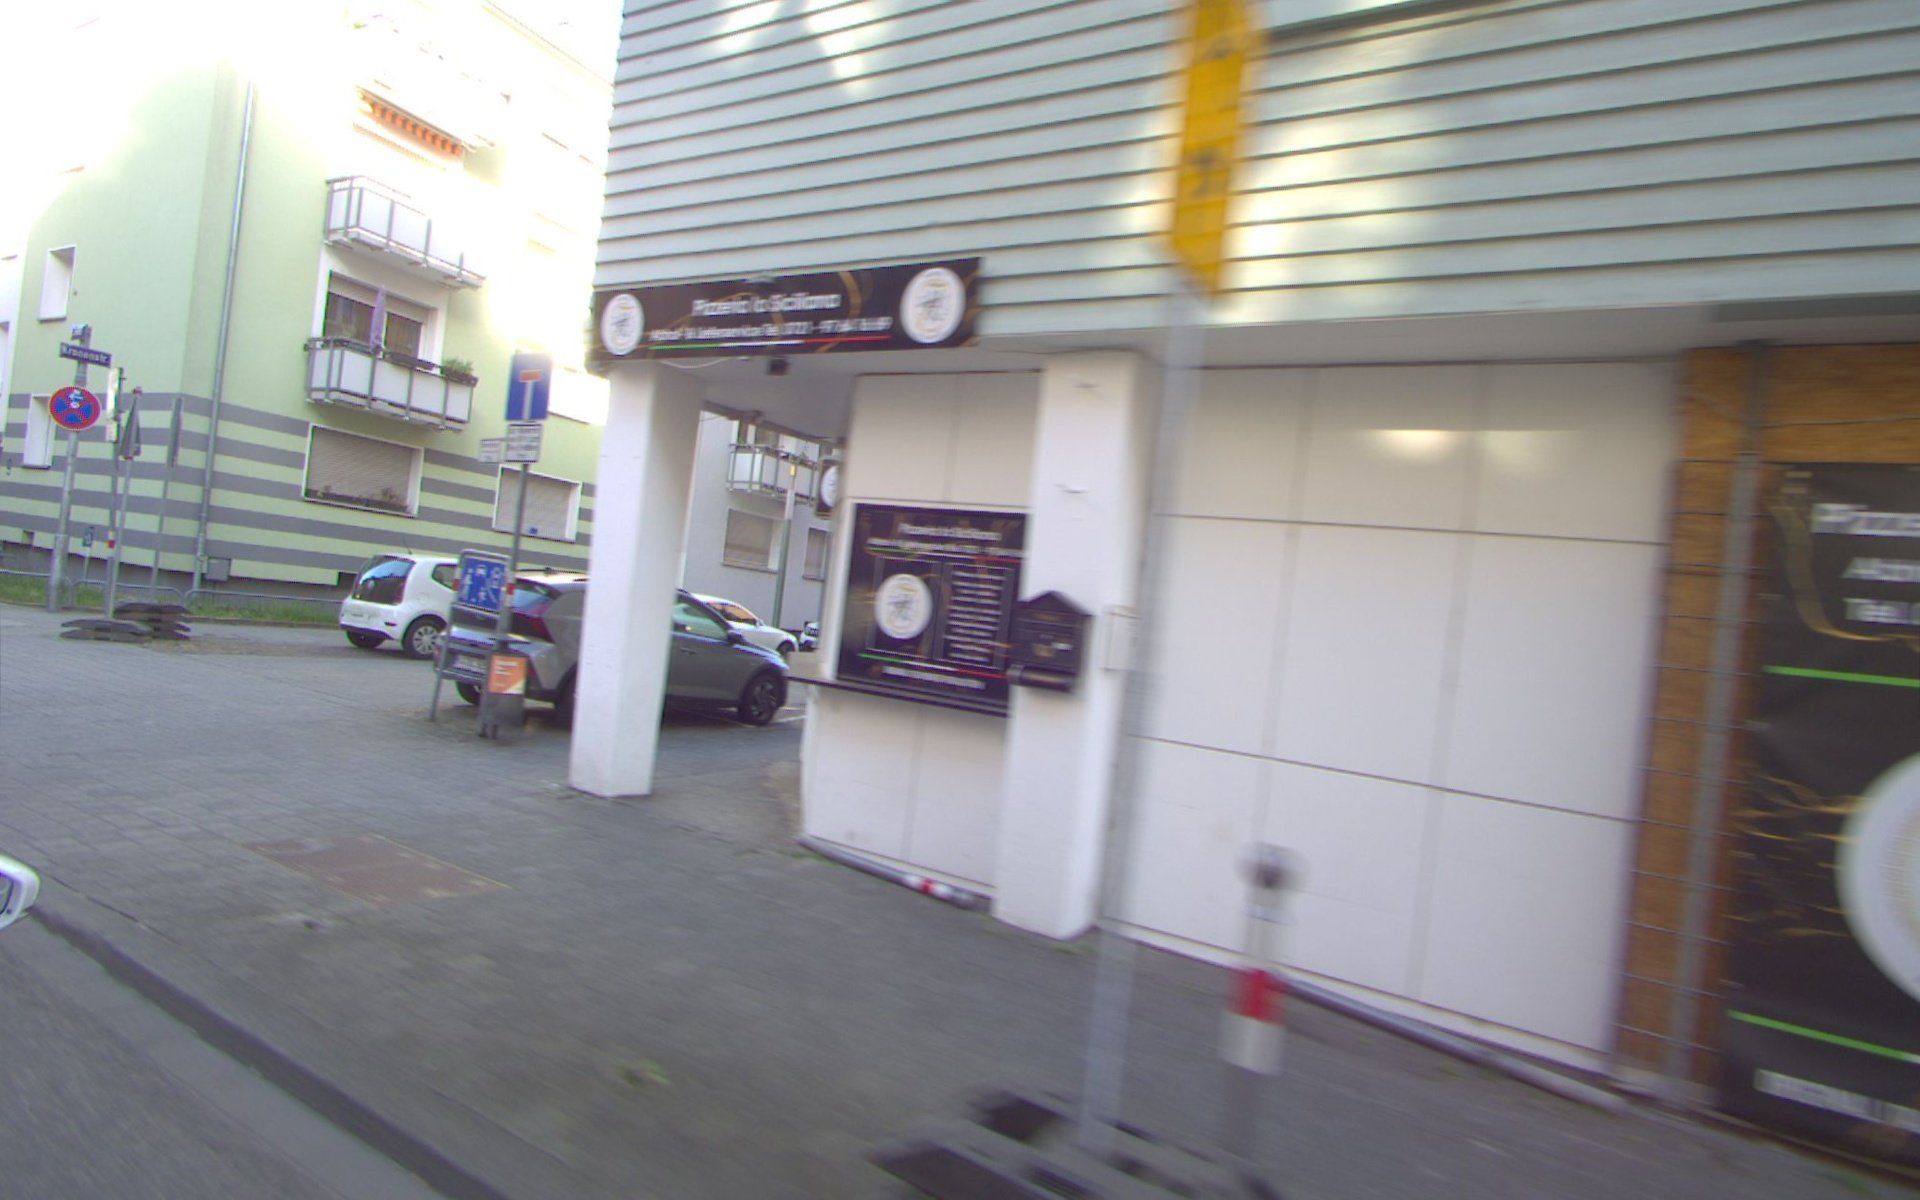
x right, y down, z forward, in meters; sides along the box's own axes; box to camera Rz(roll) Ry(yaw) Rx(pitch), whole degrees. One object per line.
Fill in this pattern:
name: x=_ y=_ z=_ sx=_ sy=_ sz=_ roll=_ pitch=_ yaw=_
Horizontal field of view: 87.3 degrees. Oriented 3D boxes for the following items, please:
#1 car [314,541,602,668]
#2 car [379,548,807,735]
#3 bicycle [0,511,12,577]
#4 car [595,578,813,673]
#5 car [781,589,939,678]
car: x=-7.621 y=0.133 z=15.603 sx=1.680 sy=1.499 sz=3.553 roll=6 pitch=-2 yaw=30
car: x=-3.711 y=0.498 z=10.961 sx=1.833 sy=1.499 sz=4.087 roll=6 pitch=-1 yaw=29
bicycle: x=-17.778 y=-1.051 z=17.502 sx=0.542 sy=1.157 sz=1.750 roll=7 pitch=2 yaw=28
car: x=-4.987 y=0.582 z=20.189 sx=1.680 sy=1.499 sz=4.219 roll=6 pitch=-1 yaw=30
car: x=-2.366 y=0.897 z=24.870 sx=1.757 sy=1.738 sz=4.032 roll=10 pitch=1 yaw=28
